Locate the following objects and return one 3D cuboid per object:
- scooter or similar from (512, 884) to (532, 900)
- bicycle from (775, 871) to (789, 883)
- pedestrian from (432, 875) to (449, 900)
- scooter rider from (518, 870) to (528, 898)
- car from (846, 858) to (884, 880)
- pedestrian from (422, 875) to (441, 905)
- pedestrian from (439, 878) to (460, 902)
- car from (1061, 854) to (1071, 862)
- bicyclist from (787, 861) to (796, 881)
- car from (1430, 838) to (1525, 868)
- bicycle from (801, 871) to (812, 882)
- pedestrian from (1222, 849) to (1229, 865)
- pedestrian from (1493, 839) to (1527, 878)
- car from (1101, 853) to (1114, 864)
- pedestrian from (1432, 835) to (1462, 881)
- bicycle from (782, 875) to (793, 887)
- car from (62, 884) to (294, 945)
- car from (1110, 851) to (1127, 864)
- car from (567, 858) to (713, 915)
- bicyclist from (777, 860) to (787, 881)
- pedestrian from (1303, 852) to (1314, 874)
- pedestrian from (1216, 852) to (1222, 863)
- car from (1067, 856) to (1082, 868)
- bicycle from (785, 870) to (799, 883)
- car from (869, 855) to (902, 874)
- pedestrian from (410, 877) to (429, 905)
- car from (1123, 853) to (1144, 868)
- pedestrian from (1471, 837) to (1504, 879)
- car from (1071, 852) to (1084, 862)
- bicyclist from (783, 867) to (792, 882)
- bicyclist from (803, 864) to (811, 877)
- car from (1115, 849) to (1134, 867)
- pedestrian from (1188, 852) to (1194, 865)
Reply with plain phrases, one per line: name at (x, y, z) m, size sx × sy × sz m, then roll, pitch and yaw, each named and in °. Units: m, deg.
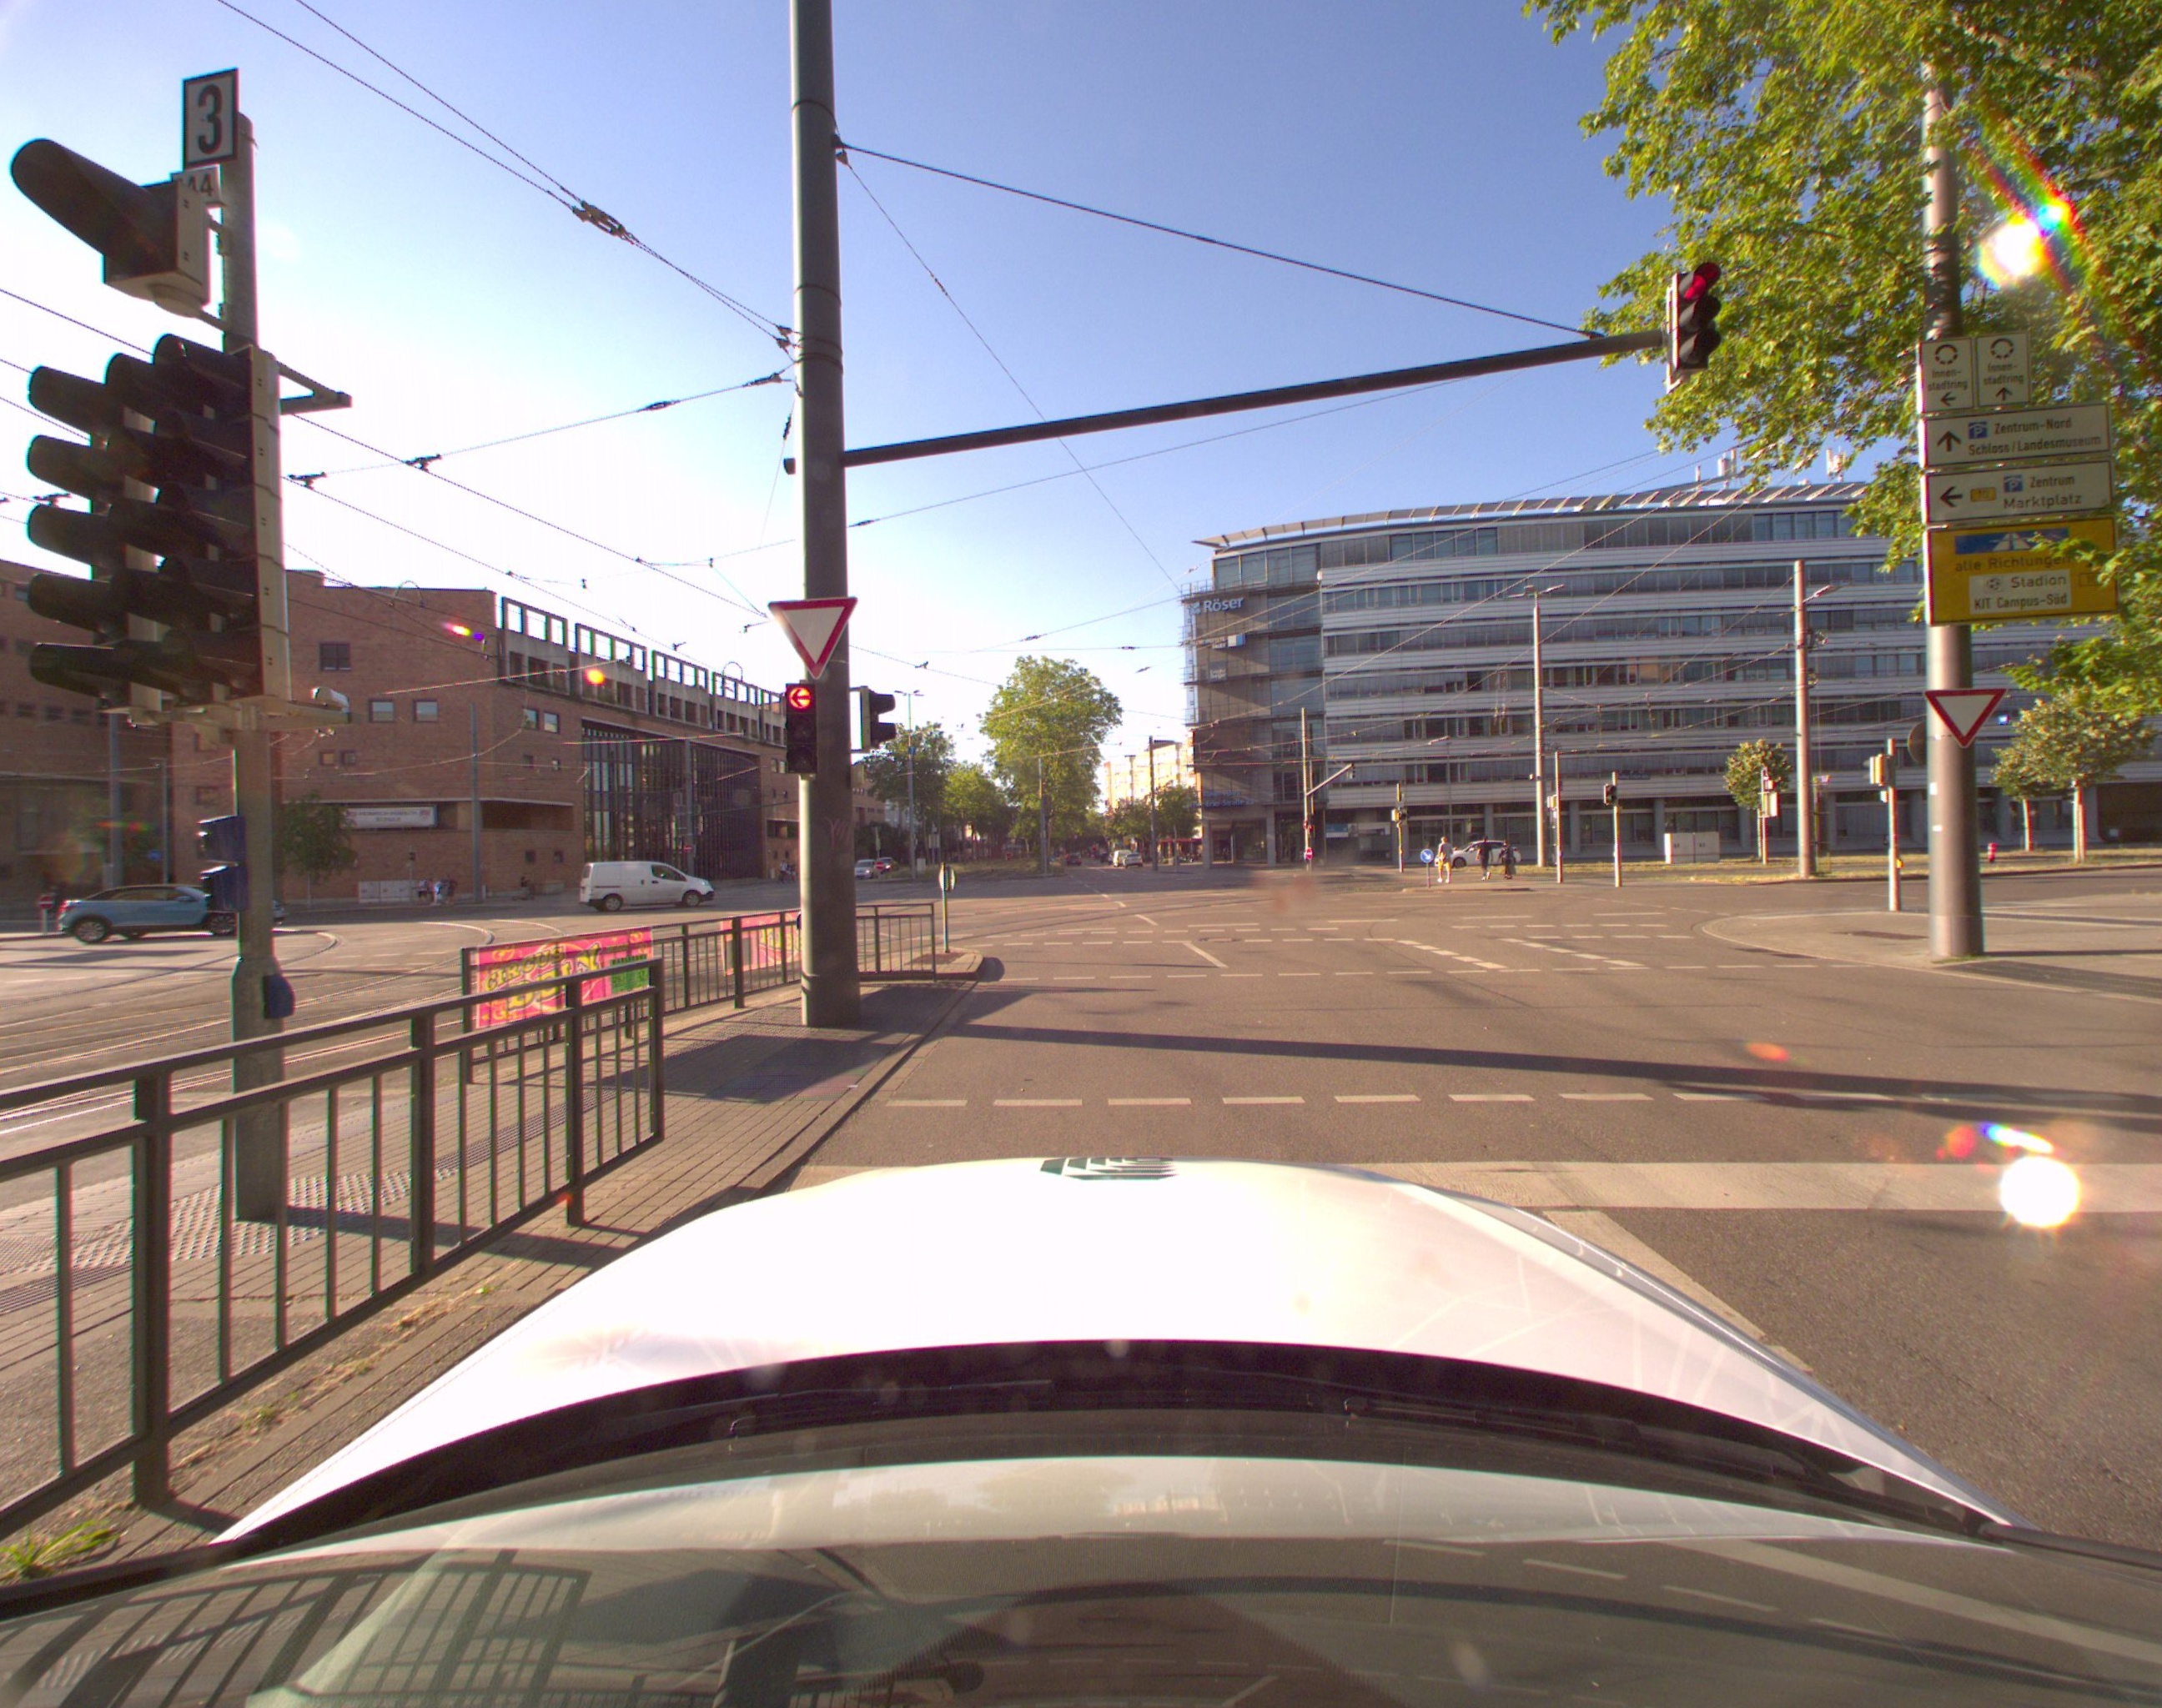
scooter or similar at (-33.727, 2.280, 49.156) m, size 0.956 × 0.899 × 0.173 m, roll -2°, pitch 0°, yaw -45°
bicycle at (-24.339, 1.857, 66.318) m, size 0.540 × 0.963 × 1.587 m, roll -2°, pitch 0°, yaw 2°
pedestrian at (-38.036, 1.969, 48.364) m, size 0.568 × 1.453 × 0.612 m, roll -2°, pitch 0°, yaw -13°
scooter rider at (-33.728, 1.809, 49.198) m, size 0.441 × 1.647 × 0.226 m, roll -2°, pitch 0°, yaw -44°
car at (-18.004, 1.222, 67.958) m, size 1.987 × 1.640 × 4.001 m, roll -2°, pitch 0°, yaw 1°
pedestrian at (-37.553, 2.083, 47.087) m, size 0.597 × 1.648 × 0.549 m, roll -2°, pitch 0°, yaw 1°
pedestrian at (-36.536, 2.075, 47.099) m, size 0.597 × 1.339 × 0.684 m, roll -2°, pitch 0°, yaw 17°
car at (-2.670, 0.805, 147.280) m, size 1.792 × 1.442 × 3.999 m, roll 0°, pitch -1°, yaw 0°
bicyclist at (-23.607, 1.359, 66.455) m, size 0.456 × 1.603 × 0.581 m, roll -2°, pitch 0°, yaw 1°
car at (21.589, -0.059, 44.476) m, size 4.273 × 1.488 × 1.764 m, roll -2°, pitch 0°, yaw 5°
bicycle at (-24.349, 2.010, 72.330) m, size 0.449 × 0.963 × 1.348 m, roll -2°, pitch 0°, yaw 2°
pedestrian at (13.684, 0.267, 77.259) m, size 0.608 × 1.507 × 0.580 m, roll -2°, pitch 0°, yaw 9°
pedestrian at (17.671, 0.171, 33.570) m, size 0.943 × 1.564 × 0.899 m, roll -2°, pitch 0°, yaw 9°
car at (4.096, 0.662, 126.782) m, size 1.986 × 1.618 × 4.002 m, roll -2°, pitch 0°, yaw 2°
pedestrian at (14.583, 0.170, 32.480) m, size 0.858 × 1.788 × 0.874 m, roll -2°, pitch 0°, yaw 9°
bicycle at (-24.972, 2.286, 69.298) m, size 0.466 × 0.963 × 1.320 m, roll -2°, pitch 0°, yaw 2°
car at (-25.774, 1.680, 23.441) m, size 4.108 × 1.426 × 1.620 m, roll -2°, pitch 0°, yaw -24°
car at (4.823, 0.482, 105.300) m, size 1.986 × 1.618 × 4.002 m, roll -2°, pitch 0°, yaw 2°
car at (-16.648, 1.163, 30.879) m, size 4.549 × 1.867 × 1.740 m, roll -2°, pitch 0°, yaw -40°
bicyclist at (-24.343, 1.325, 66.317) m, size 0.534 × 1.731 × 0.581 m, roll -2°, pitch 0°, yaw 1°
pedestrian at (15.725, 0.626, 56.354) m, size 0.608 × 1.507 × 0.580 m, roll -2°, pitch 0°, yaw 9°
pedestrian at (21.088, 0.523, 124.242) m, size 0.741 × 1.714 × 0.612 m, roll -2°, pitch 0°, yaw 1°
car at (-0.867, 0.995, 106.933) m, size 1.791 × 1.442 × 4.002 m, roll -2°, pitch 0°, yaw 2°
bicycle at (-23.617, 1.854, 66.561) m, size 0.471 × 0.963 × 1.576 m, roll -2°, pitch 0°, yaw 2°
car at (-18.114, 0.966, 75.533) m, size 1.987 × 1.640 × 4.001 m, roll -2°, pitch 0°, yaw 1°
pedestrian at (-38.462, 2.142, 47.372) m, size 0.594 × 1.614 × 0.589 m, roll -2°, pitch 0°, yaw 1°
car at (5.292, 0.625, 82.827) m, size 1.986 × 1.376 × 4.002 m, roll -2°, pitch 0°, yaw 2°
pedestrian at (16.884, 0.158, 33.861) m, size 0.907 × 1.685 × 1.038 m, roll -2°, pitch 0°, yaw 9°
car at (-0.464, 0.412, 120.067) m, size 1.791 × 1.442 × 4.002 m, roll -2°, pitch 0°, yaw 2°
bicyclist at (-24.986, 1.741, 69.368) m, size 0.503 × 1.304 × 0.581 m, roll -2°, pitch 0°, yaw 1°
bicyclist at (-24.340, 1.446, 72.302) m, size 0.503 × 1.179 × 0.581 m, roll -2°, pitch 0°, yaw 1°
car at (4.746, 0.454, 89.644) m, size 1.986 × 1.860 × 4.002 m, roll -2°, pitch 0°, yaw 2°
pedestrian at (14.170, 0.563, 104.814) m, size 0.741 × 1.714 × 0.612 m, roll -2°, pitch 0°, yaw 1°
